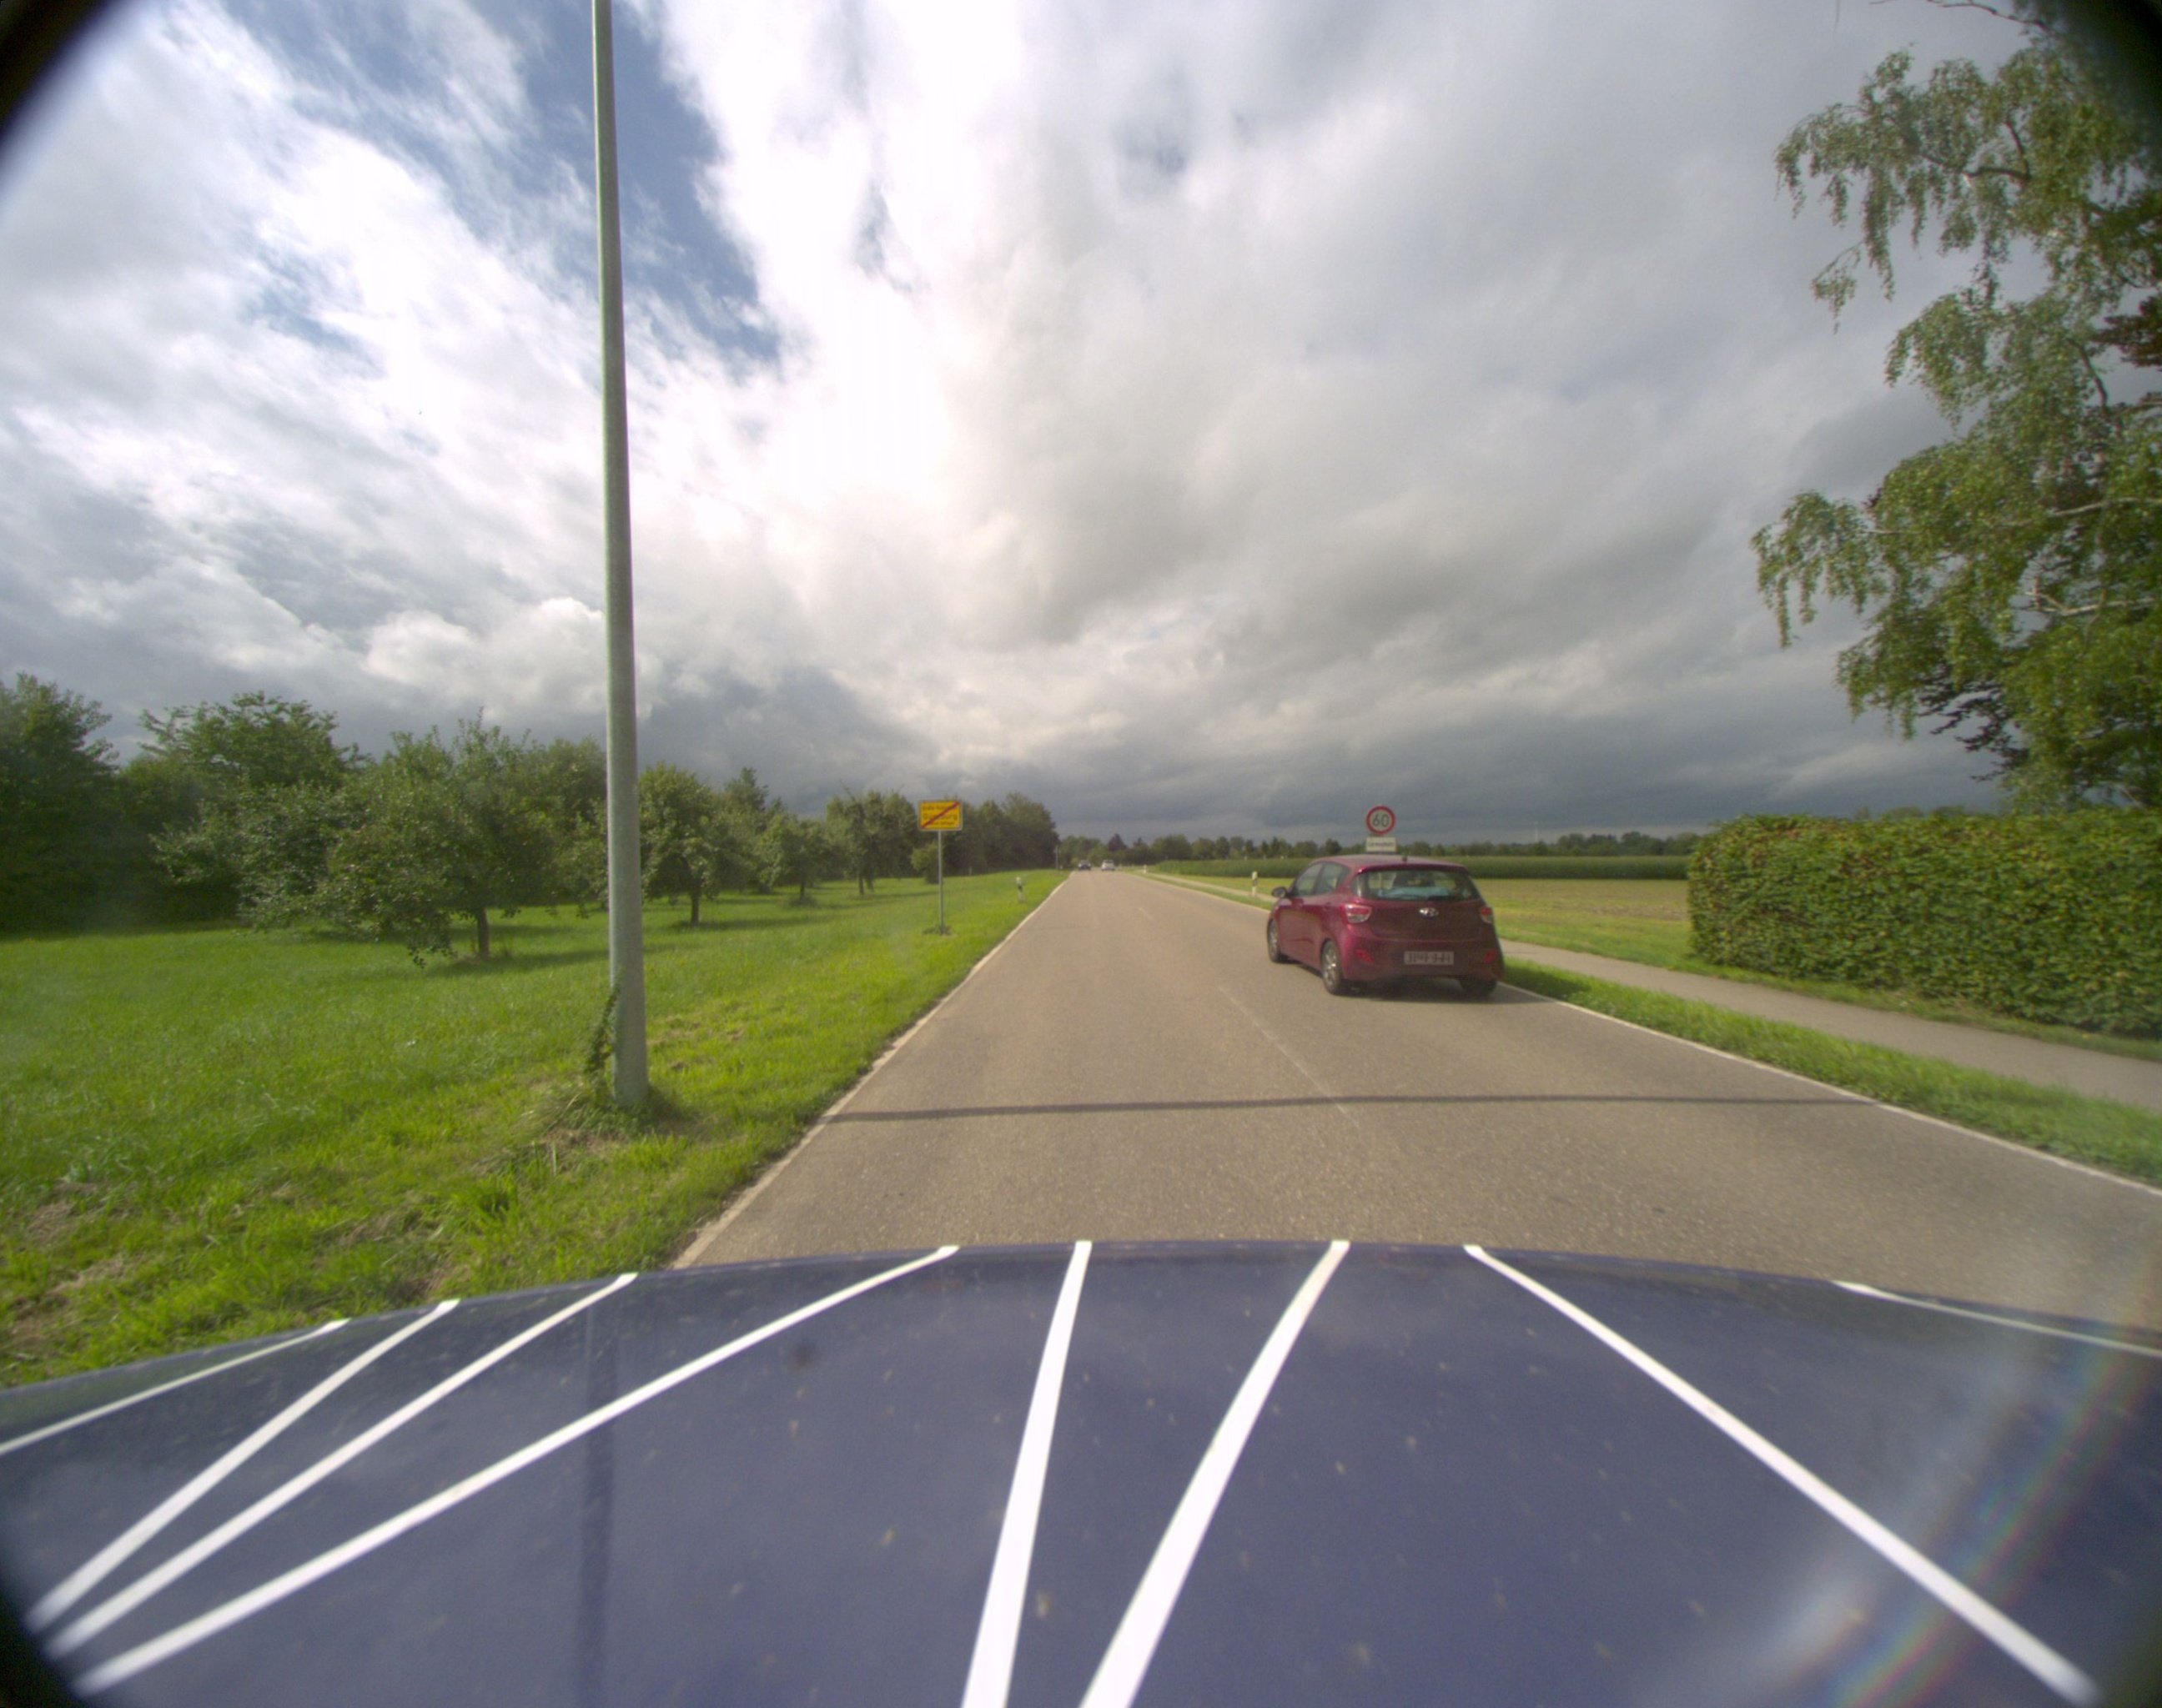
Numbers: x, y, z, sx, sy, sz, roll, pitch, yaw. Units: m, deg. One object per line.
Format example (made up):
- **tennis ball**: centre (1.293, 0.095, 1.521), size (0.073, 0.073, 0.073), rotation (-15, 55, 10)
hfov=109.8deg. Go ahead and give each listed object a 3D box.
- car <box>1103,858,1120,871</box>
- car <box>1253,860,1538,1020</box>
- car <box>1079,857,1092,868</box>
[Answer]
- **car**: centre (4.176, 1.396, 104.703), size (2.087, 1.716, 4.560), rotation (0, 0, 1)
- **car**: centre (3.373, 0.814, 9.058), size (1.745, 1.462, 4.000), rotation (0, 0, 0)
- **car**: centre (0.735, 1.302, 118.101), size (1.998, 1.594, 4.000), rotation (-2, 0, 0)
